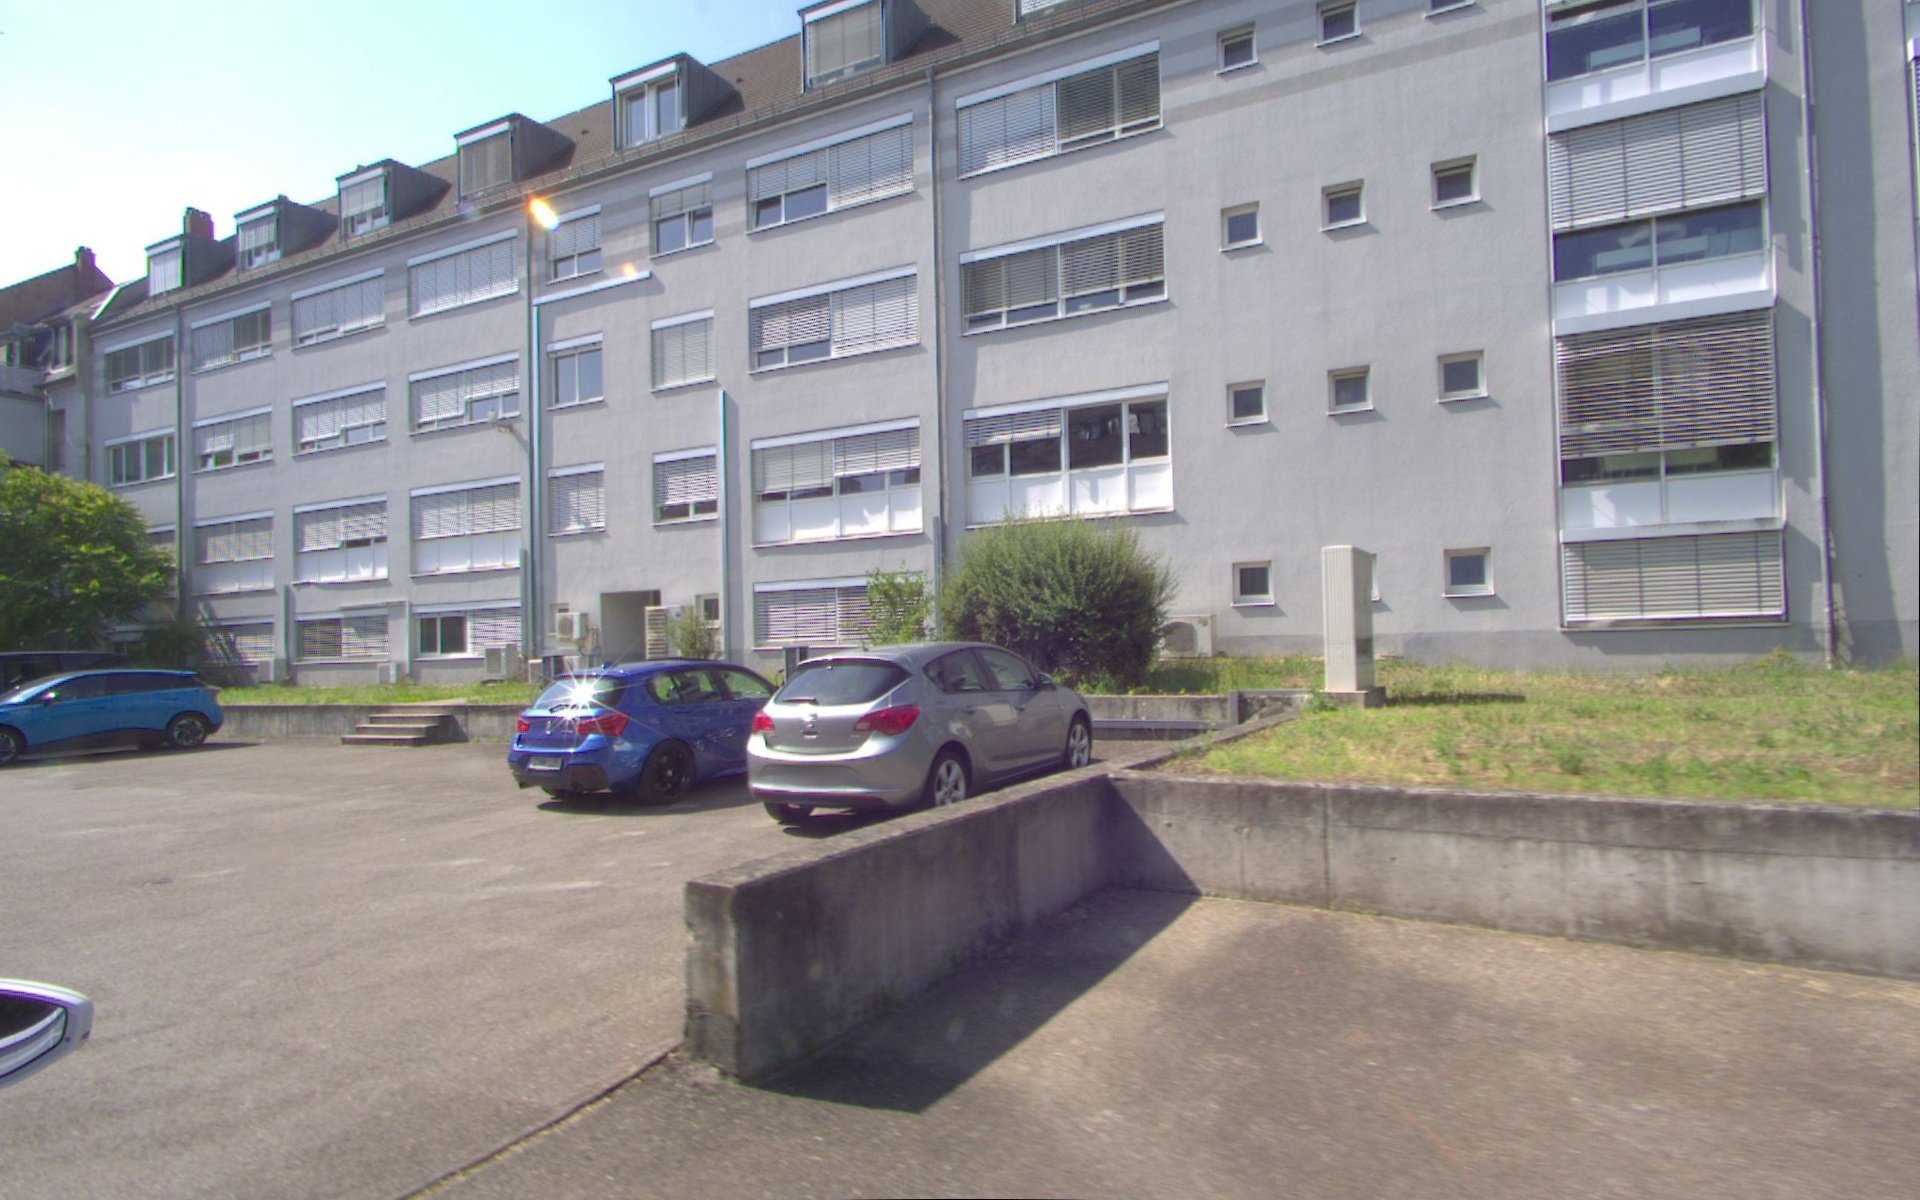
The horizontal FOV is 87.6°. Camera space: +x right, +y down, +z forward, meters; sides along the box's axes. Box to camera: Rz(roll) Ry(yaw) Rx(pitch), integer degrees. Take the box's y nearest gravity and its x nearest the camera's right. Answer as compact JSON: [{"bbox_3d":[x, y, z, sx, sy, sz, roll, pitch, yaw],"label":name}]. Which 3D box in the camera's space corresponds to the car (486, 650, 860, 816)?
[{"bbox_3d":[-3.008,1.338,11.314,1.665,1.411,3.980,-3,-2,31],"label":"car"}]

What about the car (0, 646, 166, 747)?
[{"bbox_3d":[-18.693,1.864,19.321,2.060,1.790,4.959,-1,-1,19],"label":"car"}]

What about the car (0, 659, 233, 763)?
[{"bbox_3d":[-15.832,1.905,17.848,1.970,1.552,4.225,-2,-1,28],"label":"car"}]

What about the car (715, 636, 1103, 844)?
[{"bbox_3d":[-0.231,1.109,9.408,1.785,1.445,3.983,-3,-2,29],"label":"car"}]
